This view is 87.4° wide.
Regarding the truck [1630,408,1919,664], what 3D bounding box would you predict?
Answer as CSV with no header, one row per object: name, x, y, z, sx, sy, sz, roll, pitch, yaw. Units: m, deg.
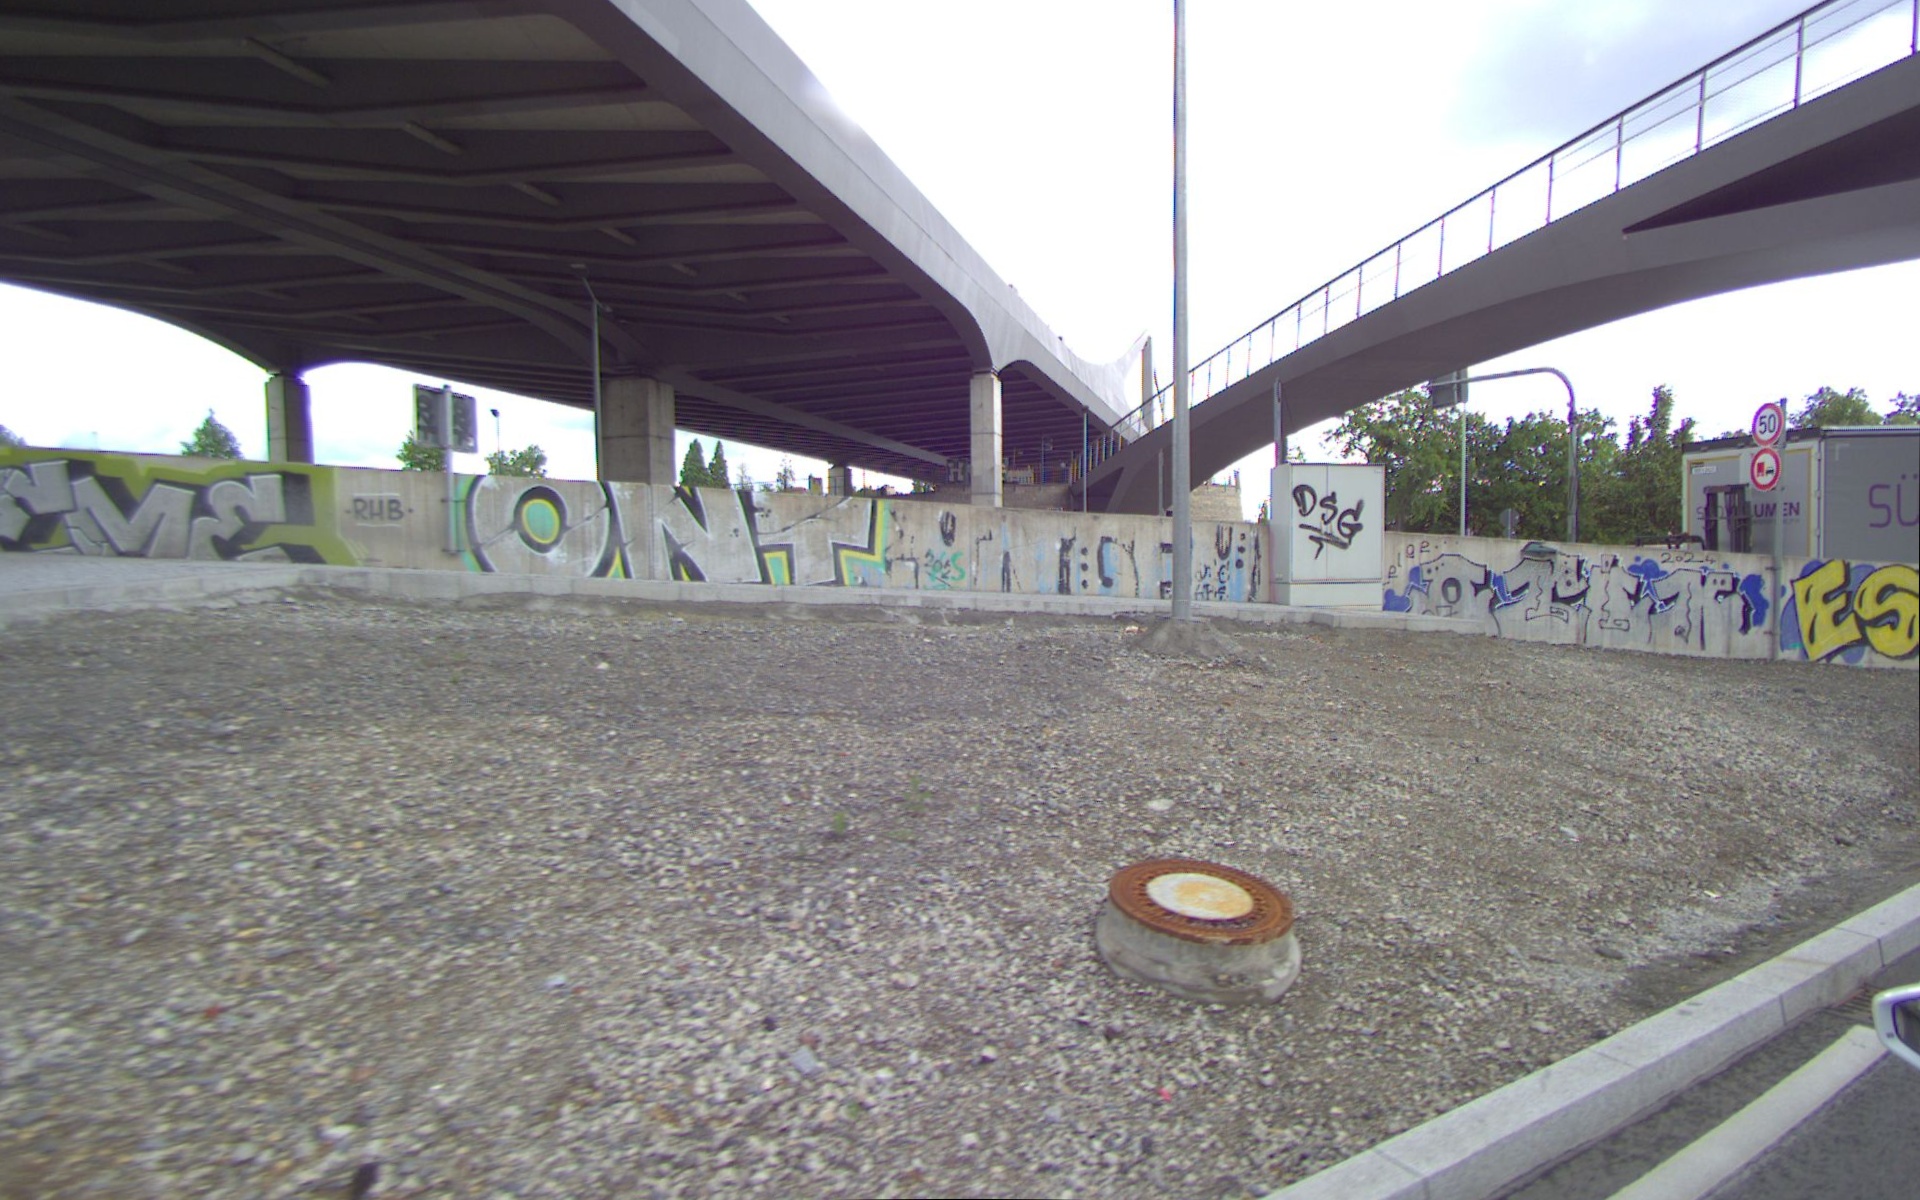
truck,17.853,-1.299,18.441,10.017,4.072,2.921,-3,4,-10
